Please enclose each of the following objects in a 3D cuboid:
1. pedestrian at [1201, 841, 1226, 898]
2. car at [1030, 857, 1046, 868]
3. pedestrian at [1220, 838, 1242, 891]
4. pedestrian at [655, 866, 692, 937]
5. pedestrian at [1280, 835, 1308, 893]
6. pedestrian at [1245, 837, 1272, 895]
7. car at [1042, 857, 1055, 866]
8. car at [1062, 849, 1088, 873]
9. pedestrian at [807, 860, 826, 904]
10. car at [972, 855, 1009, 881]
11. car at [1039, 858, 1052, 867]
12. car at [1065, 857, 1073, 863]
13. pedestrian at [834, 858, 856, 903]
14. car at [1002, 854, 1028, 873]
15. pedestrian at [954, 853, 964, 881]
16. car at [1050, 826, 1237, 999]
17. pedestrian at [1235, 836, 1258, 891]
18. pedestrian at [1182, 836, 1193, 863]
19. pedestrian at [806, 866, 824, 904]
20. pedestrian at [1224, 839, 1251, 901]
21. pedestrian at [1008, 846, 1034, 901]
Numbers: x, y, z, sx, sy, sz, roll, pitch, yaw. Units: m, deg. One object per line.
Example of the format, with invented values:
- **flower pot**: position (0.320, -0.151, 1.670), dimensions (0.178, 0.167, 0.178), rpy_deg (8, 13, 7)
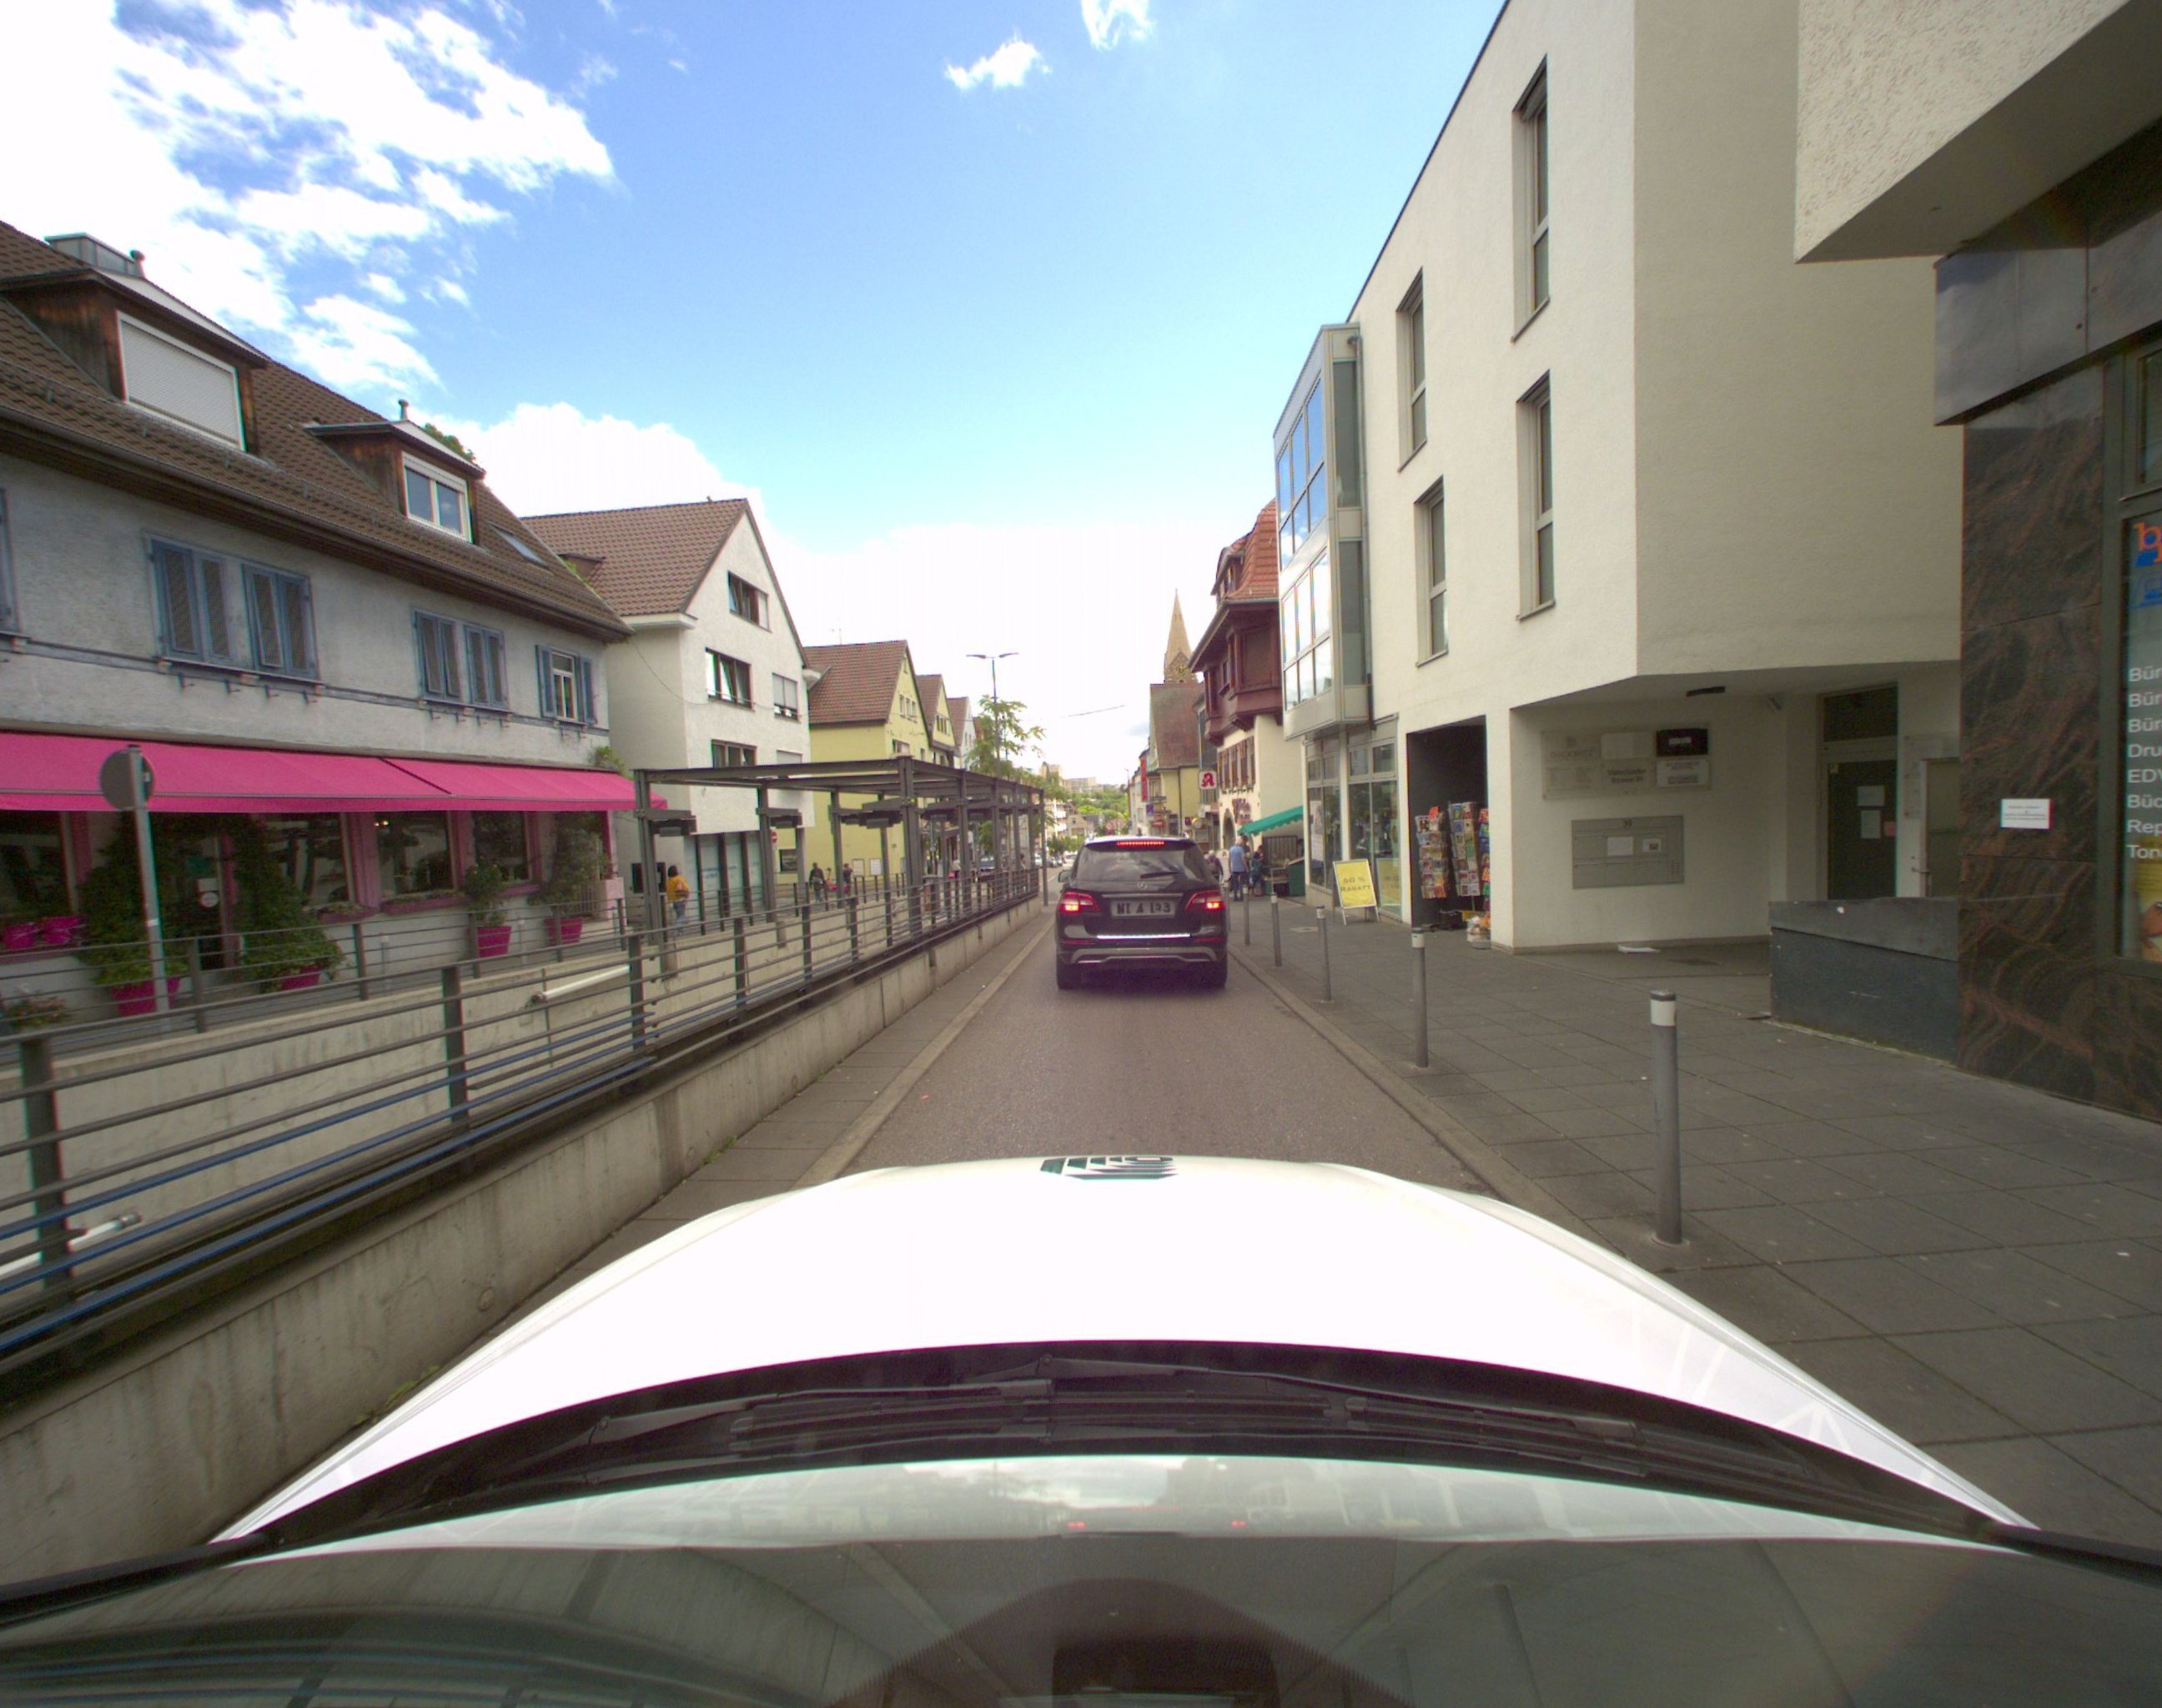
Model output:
- **pedestrian**: position (3.956, 0.453, 24.316), dimensions (0.620, 1.689, 0.565), rpy_deg (-1, 0, -4)
- **car**: position (-4.702, 0.935, 89.877), dimensions (1.383, 1.070, 3.115), rpy_deg (-3, 0, 2)
- **pedestrian**: position (5.179, 0.350, 28.196), dimensions (0.637, 1.809, 0.685), rpy_deg (-1, 0, 1)
- **pedestrian**: position (-9.819, 1.131, 19.625), dimensions (0.576, 1.689, 0.577), rpy_deg (-1, 0, 1)
- **pedestrian**: position (6.400, 0.301, 24.475), dimensions (0.572, 1.689, 0.565), rpy_deg (-3, 0, -4)
- **pedestrian**: position (5.302, 0.351, 24.364), dimensions (0.572, 1.689, 0.565), rpy_deg (-3, 0, -4)
- **car**: position (-4.243, 0.975, 106.969), dimensions (1.383, 1.070, 3.115), rpy_deg (-3, 0, 2)
- **car**: position (-0.432, 0.525, 60.254), dimensions (1.764, 1.713, 4.002), rpy_deg (-1, 0, 2)
- **pedestrian**: position (-10.323, 1.065, 31.774), dimensions (0.612, 1.689, 0.561), rpy_deg (0, 0, -13)
- **car**: position (-5.514, 0.824, 49.907), dimensions (1.683, 1.490, 3.981), rpy_deg (0, 0, 2)
- **car**: position (-4.405, 1.079, 101.769), dimensions (1.383, 1.070, 3.115), rpy_deg (-3, 0, 2)
- **car**: position (-2.373, 1.259, 163.572), dimensions (1.383, 1.070, 3.115), rpy_deg (-3, 0, 2)
- **pedestrian**: position (-8.957, 1.008, 30.926), dimensions (0.623, 1.689, 0.679), rpy_deg (-1, 0, 1)
- **car**: position (-5.419, 0.774, 67.227), dimensions (1.654, 1.490, 3.750), rpy_deg (-1, 0, 2)
- **pedestrian**: position (-7.528, 0.801, 50.216), dimensions (0.511, 1.689, 0.542), rpy_deg (-1, 0, 1)
- **car**: position (0.656, 0.594, 10.311), dimensions (1.894, 1.747, 4.000), rpy_deg (-1, 0, 0)
- **pedestrian**: position (5.140, 0.294, 25.313), dimensions (0.572, 1.689, 0.565), rpy_deg (-1, 0, -4)
- **pedestrian**: position (6.880, -0.272, 52.661), dimensions (0.604, 1.688, 0.725), rpy_deg (-3, 0, 1)
- **pedestrian**: position (-10.155, 1.192, 31.097), dimensions (0.454, 1.421, 0.534), rpy_deg (-1, 0, 4)
- **pedestrian**: position (4.436, 0.450, 23.113), dimensions (0.541, 1.726, 0.527), rpy_deg (-3, 0, -4)
- **pedestrian**: position (-1.892, 0.612, 25.708), dimensions (0.765, 1.689, 0.726), rpy_deg (-1, 0, -7)
